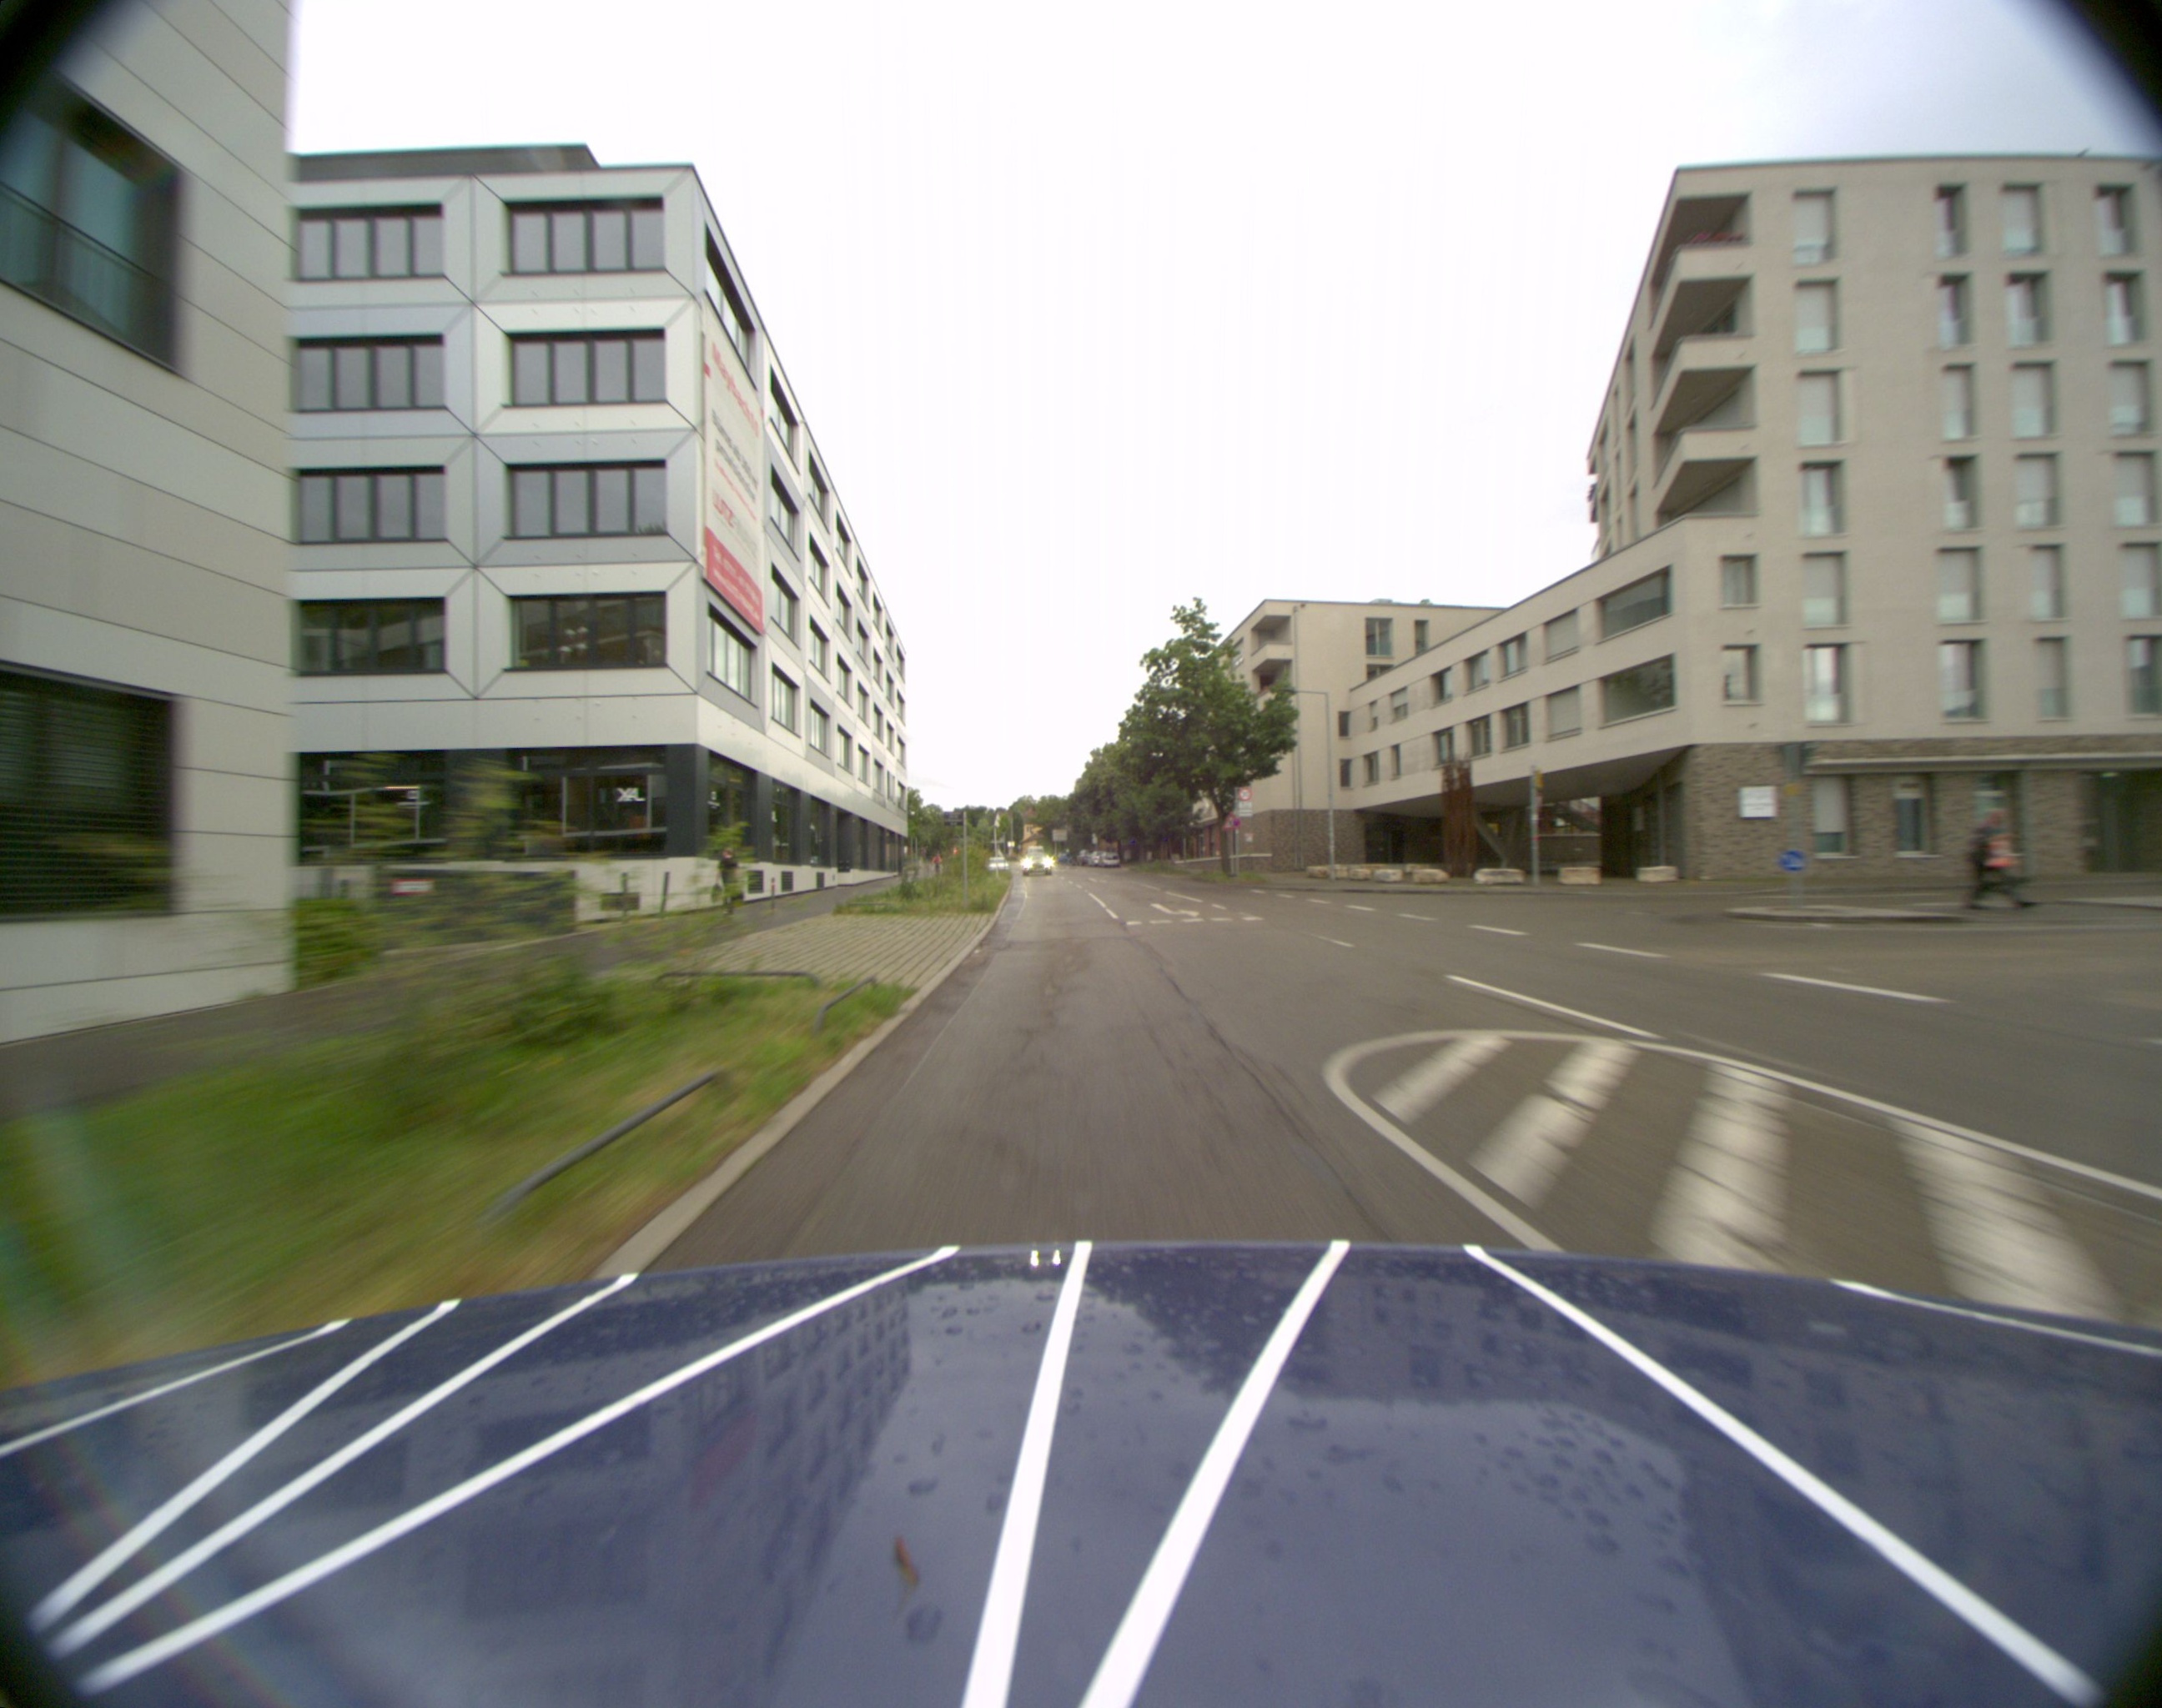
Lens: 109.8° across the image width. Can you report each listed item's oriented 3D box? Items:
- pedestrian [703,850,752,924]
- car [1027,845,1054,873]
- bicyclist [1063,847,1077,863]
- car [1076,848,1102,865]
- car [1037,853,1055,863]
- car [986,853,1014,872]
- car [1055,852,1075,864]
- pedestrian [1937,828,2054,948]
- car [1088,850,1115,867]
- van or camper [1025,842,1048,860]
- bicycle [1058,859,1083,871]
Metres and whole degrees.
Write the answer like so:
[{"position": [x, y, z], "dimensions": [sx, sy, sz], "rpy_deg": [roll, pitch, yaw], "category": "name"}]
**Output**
[{"position": [-8.874, 0.811, 19.098], "dimensions": [0.825, 1.785, 0.778], "rpy_deg": [-1, 1, -1], "category": "pedestrian"}, {"position": [-3.043, 0.315, 56.739], "dimensions": [1.848, 1.961, 4.342], "rpy_deg": [-2, 1, -4], "category": "car"}, {"position": [-1.008, 0.101, 71.771], "dimensions": [1.200, 1.514, 0.804], "rpy_deg": [-2, 1, 7], "category": "bicyclist"}, {"position": [0.851, 0.251, 83.645], "dimensions": [2.000, 1.776, 5.405], "rpy_deg": [-2, 1, -8], "category": "car"}, {"position": [-5.362, 0.599, 115.829], "dimensions": [2.001, 1.504, 4.417], "rpy_deg": [-2, 1, -14], "category": "car"}, {"position": [-6.743, 0.686, 62.885], "dimensions": [2.046, 1.456, 4.499], "rpy_deg": [-2, 0, -9], "category": "car"}, {"position": [-2.121, 0.474, 100.542], "dimensions": [2.000, 1.461, 4.181], "rpy_deg": [-2, 1, -10], "category": "car"}, {"position": [16.239, 0.569, 13.510], "dimensions": [1.060, 2.002, 1.097], "rpy_deg": [-3, 1, -25], "category": "pedestrian"}, {"position": [2.055, 0.434, 78.131], "dimensions": [1.996, 1.584, 4.485], "rpy_deg": [-2, 1, -9], "category": "car"}, {"position": [-7.178, -0.460, 121.699], "dimensions": [2.349, 2.749, 6.134], "rpy_deg": [-2, 0, -15], "category": "van or camper"}, {"position": [-1.009, 1.027, 71.792], "dimensions": [2.251, 0.973, 0.804], "rpy_deg": [-2, 1, 8], "category": "bicycle"}]
